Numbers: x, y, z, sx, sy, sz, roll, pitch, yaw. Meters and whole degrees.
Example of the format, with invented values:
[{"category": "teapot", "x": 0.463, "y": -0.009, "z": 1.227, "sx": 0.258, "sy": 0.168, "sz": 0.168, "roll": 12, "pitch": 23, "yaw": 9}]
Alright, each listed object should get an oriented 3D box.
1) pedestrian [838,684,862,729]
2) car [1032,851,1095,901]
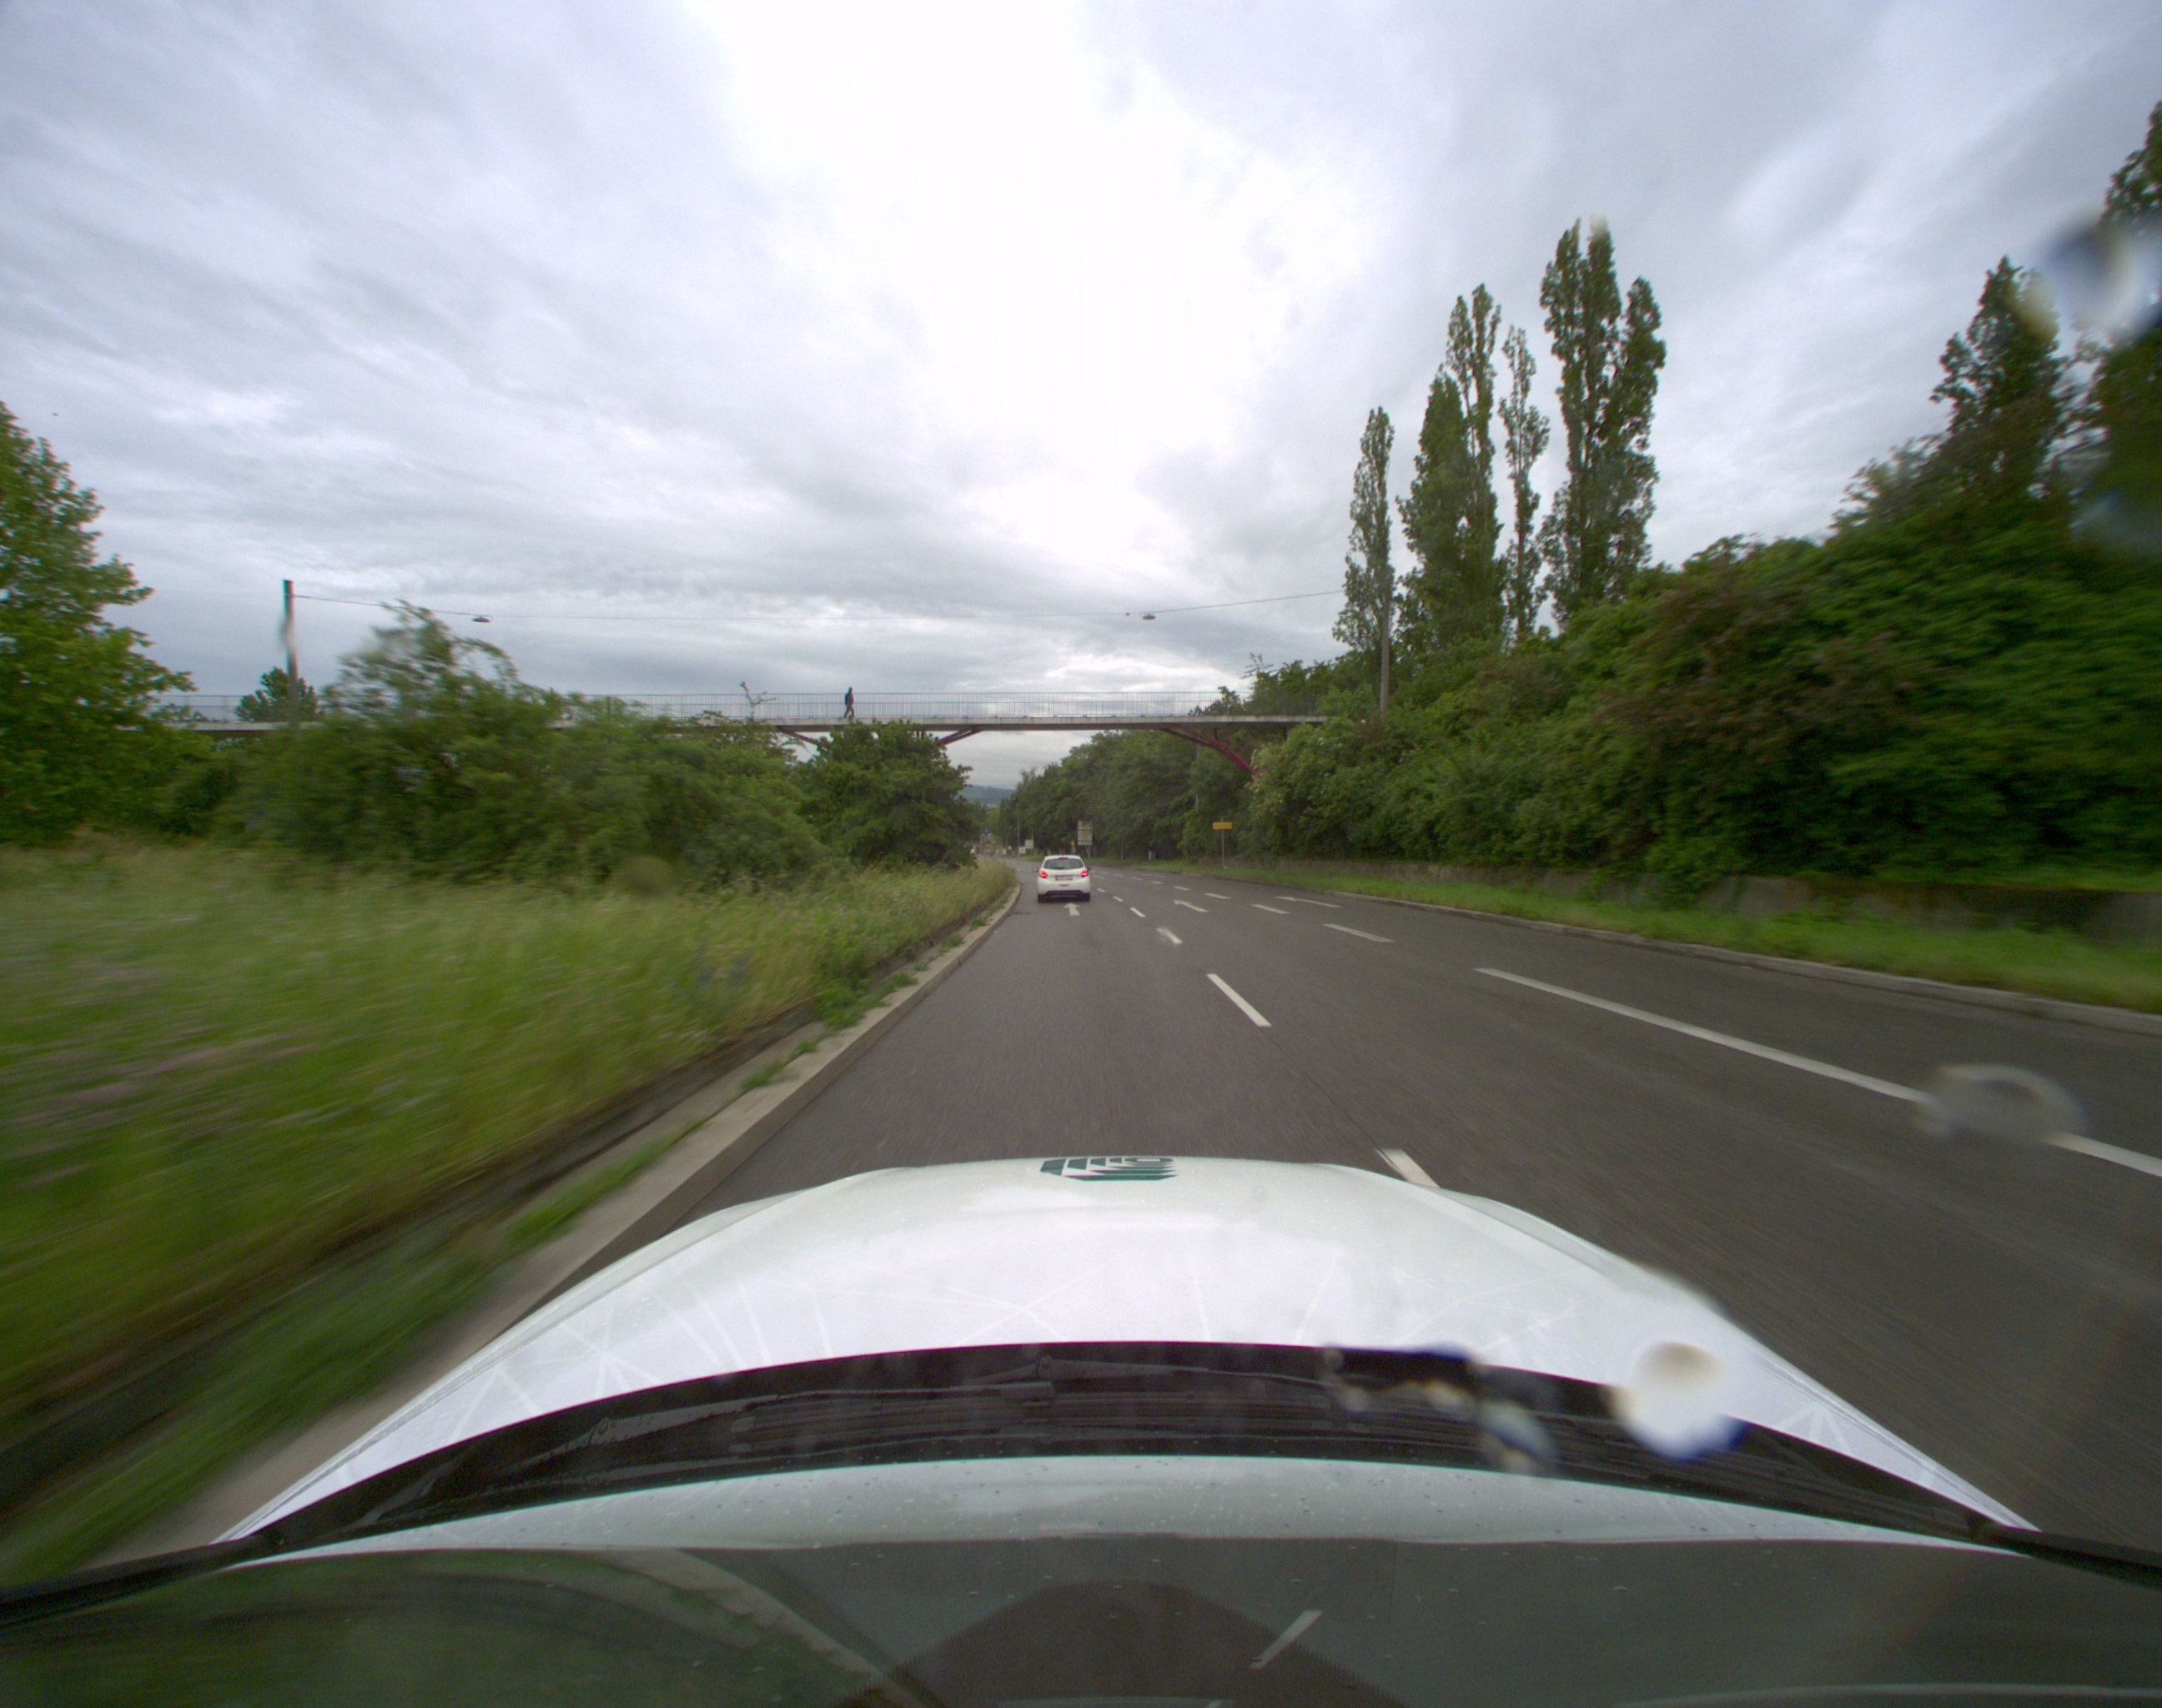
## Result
[{"category": "pedestrian", "x": -11.726, "y": -7.494, "z": 41.373, "sx": 0.913, "sy": 2.143, "sz": 0.730, "roll": -3, "pitch": 0, "yaw": -6}, {"category": "car", "x": -0.657, "y": 0.668, "z": 26.976, "sx": 1.865, "sy": 1.511, "sz": 3.893, "roll": 0, "pitch": 1, "yaw": -5}]
